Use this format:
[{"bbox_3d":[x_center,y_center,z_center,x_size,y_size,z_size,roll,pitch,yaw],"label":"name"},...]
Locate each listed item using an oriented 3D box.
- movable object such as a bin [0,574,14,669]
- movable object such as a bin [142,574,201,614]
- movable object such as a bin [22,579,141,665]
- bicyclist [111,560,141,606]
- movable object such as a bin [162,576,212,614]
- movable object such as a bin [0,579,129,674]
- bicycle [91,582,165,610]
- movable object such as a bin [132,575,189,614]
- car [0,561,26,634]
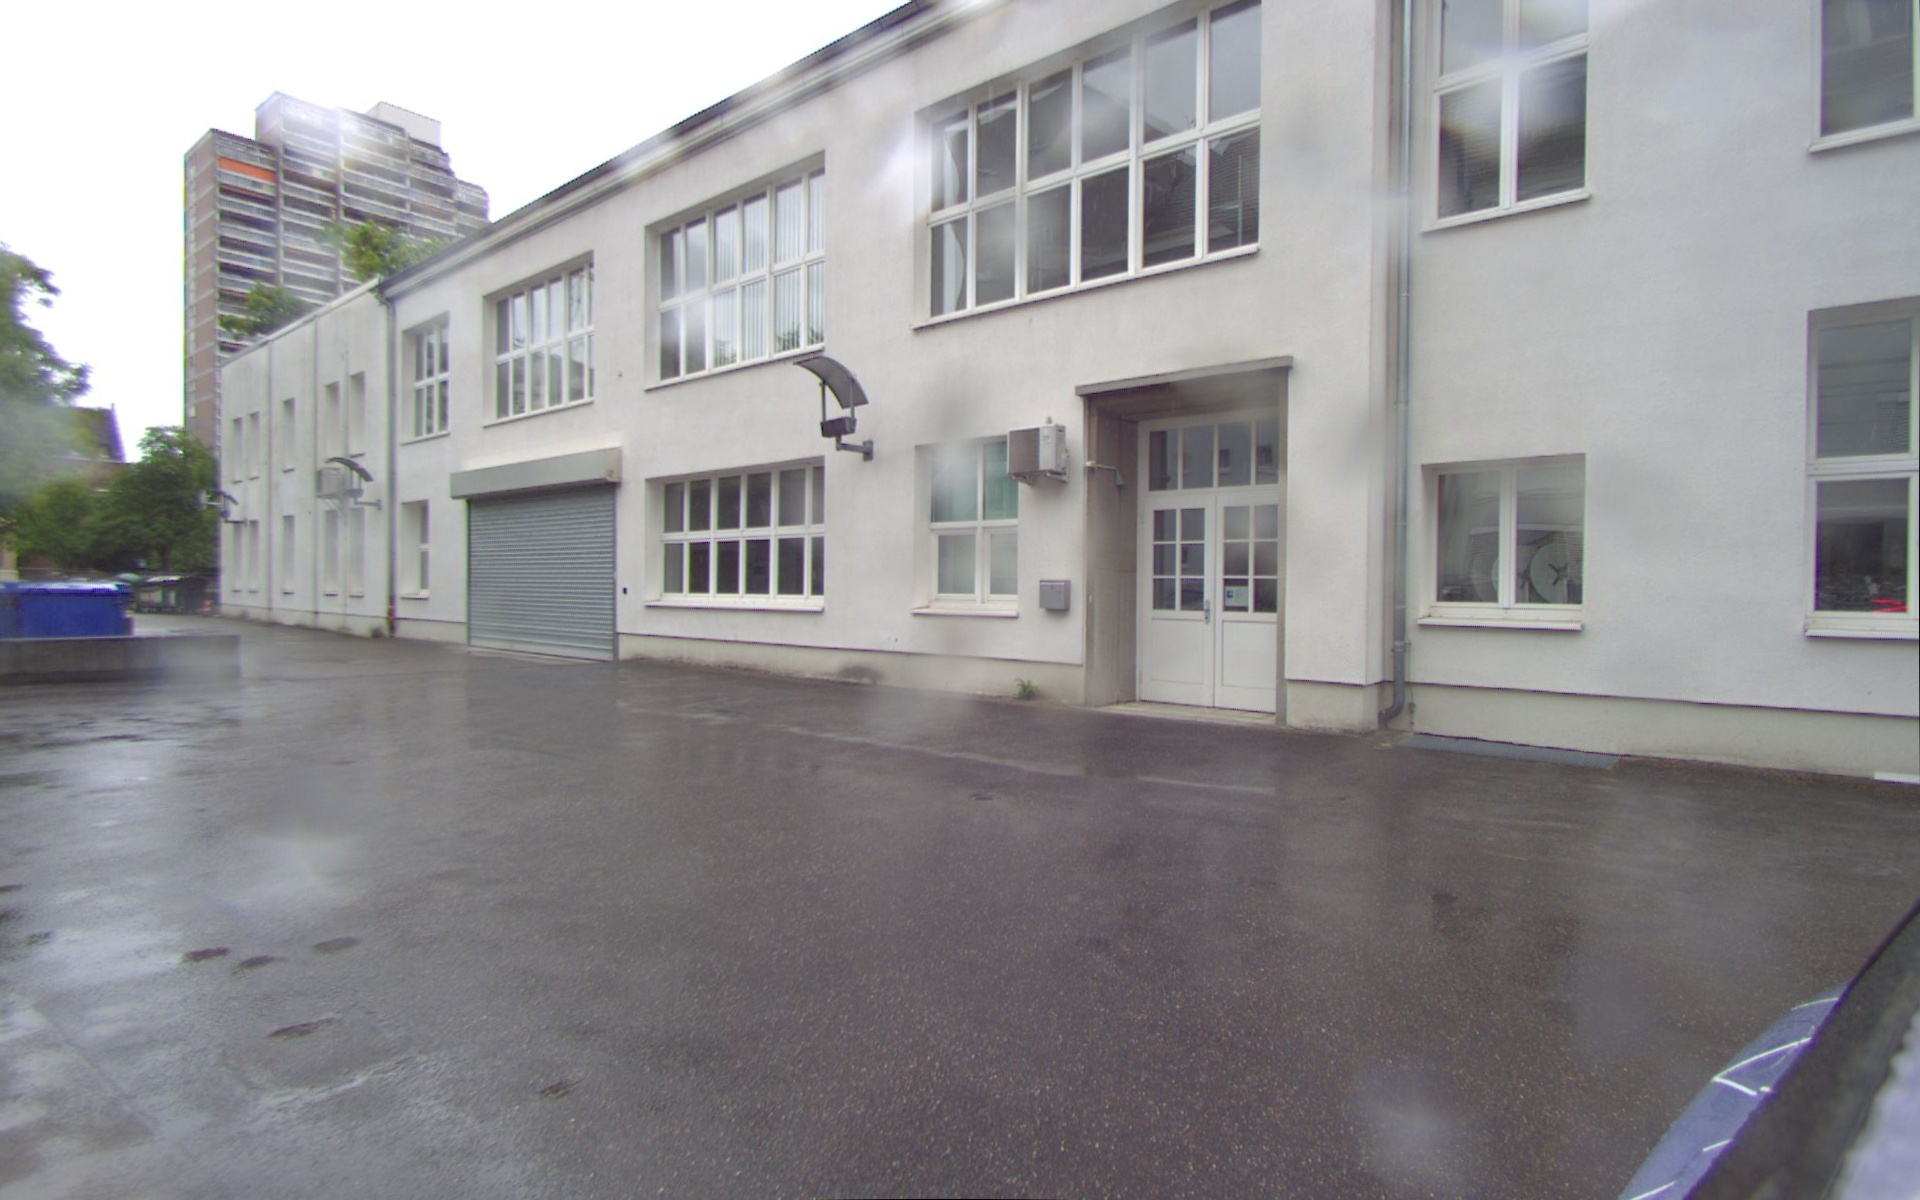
[{"bbox_3d":[-14.987,0.339,14.992,1.962,1.375,1.216,-1,0,41],"label":"movable object such as a bin"},{"bbox_3d":[-30.488,-0.231,39.138,1.305,1.466,1.473,-2,0,36],"label":"movable object such as a bin"},{"bbox_3d":[-15.284,0.369,17.597,1.896,1.375,1.295,-1,0,41],"label":"movable object such as a bin"},{"bbox_3d":[-37.400,-0.771,45.386,0.735,2.039,0.707,1,1,12],"label":"bicyclist"},{"bbox_3d":[-29.193,-0.191,38.209,1.305,1.391,1.173,-2,0,36],"label":"movable object such as a bin"},{"bbox_3d":[-14.145,0.393,15.963,1.896,1.375,1.295,-1,0,41],"label":"movable object such as a bin"},{"bbox_3d":[-37.384,-0.206,45.508,0.726,1.201,2.731,1,1,11],"label":"bicycle"},{"bbox_3d":[-31.554,-0.236,39.954,1.305,1.466,1.473,-2,0,36],"label":"movable object such as a bin"},{"bbox_3d":[-27.447,0.018,26.205,2.115,1.905,4.626,-3,0,43],"label":"car"}]
